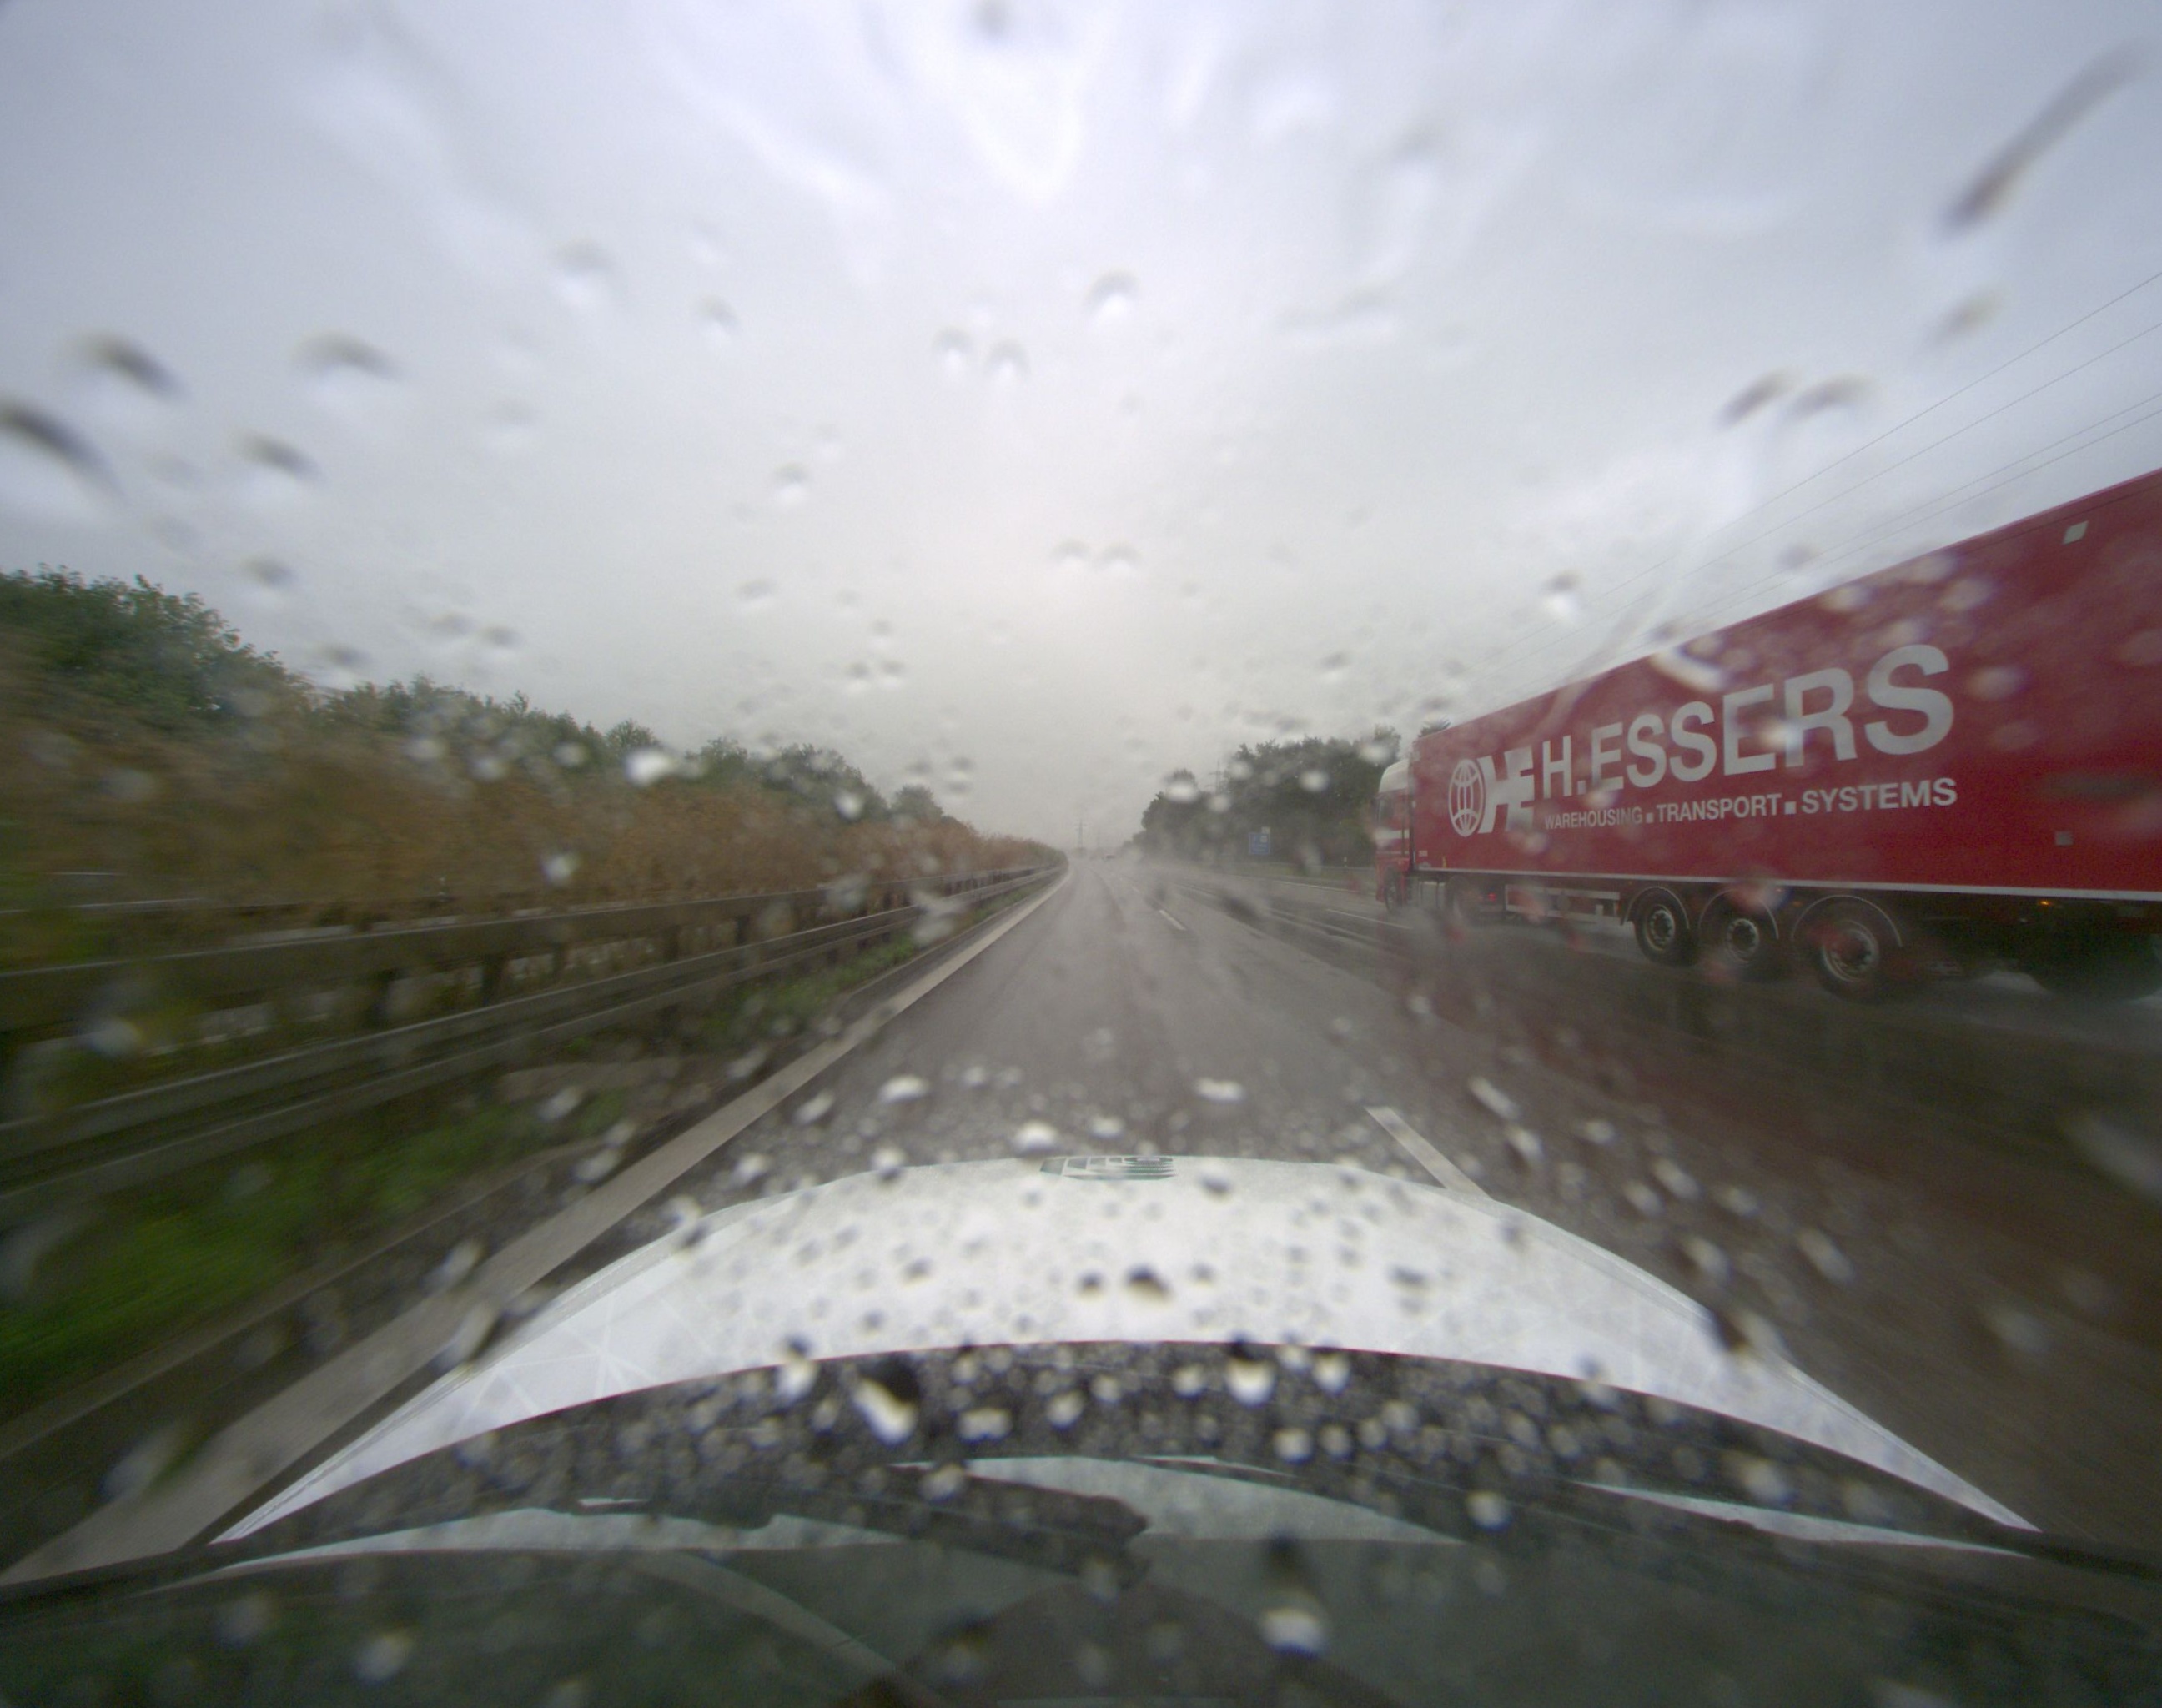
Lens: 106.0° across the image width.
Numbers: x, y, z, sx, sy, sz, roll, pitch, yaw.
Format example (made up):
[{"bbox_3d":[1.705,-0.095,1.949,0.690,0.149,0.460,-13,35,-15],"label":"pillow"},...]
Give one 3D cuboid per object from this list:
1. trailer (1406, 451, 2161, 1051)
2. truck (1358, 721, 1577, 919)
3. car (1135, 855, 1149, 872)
[{"bbox_3d":[8.569,-0.673,11.648,2.611,3.955,13.633,-1,0,1],"label":"trailer"},{"bbox_3d":[8.713,-0.675,19.138,2.611,3.955,5.434,-1,0,1],"label":"truck"},{"bbox_3d":[8.366,1.274,111.666,1.800,2.158,4.002,0,0,2],"label":"car"}]
